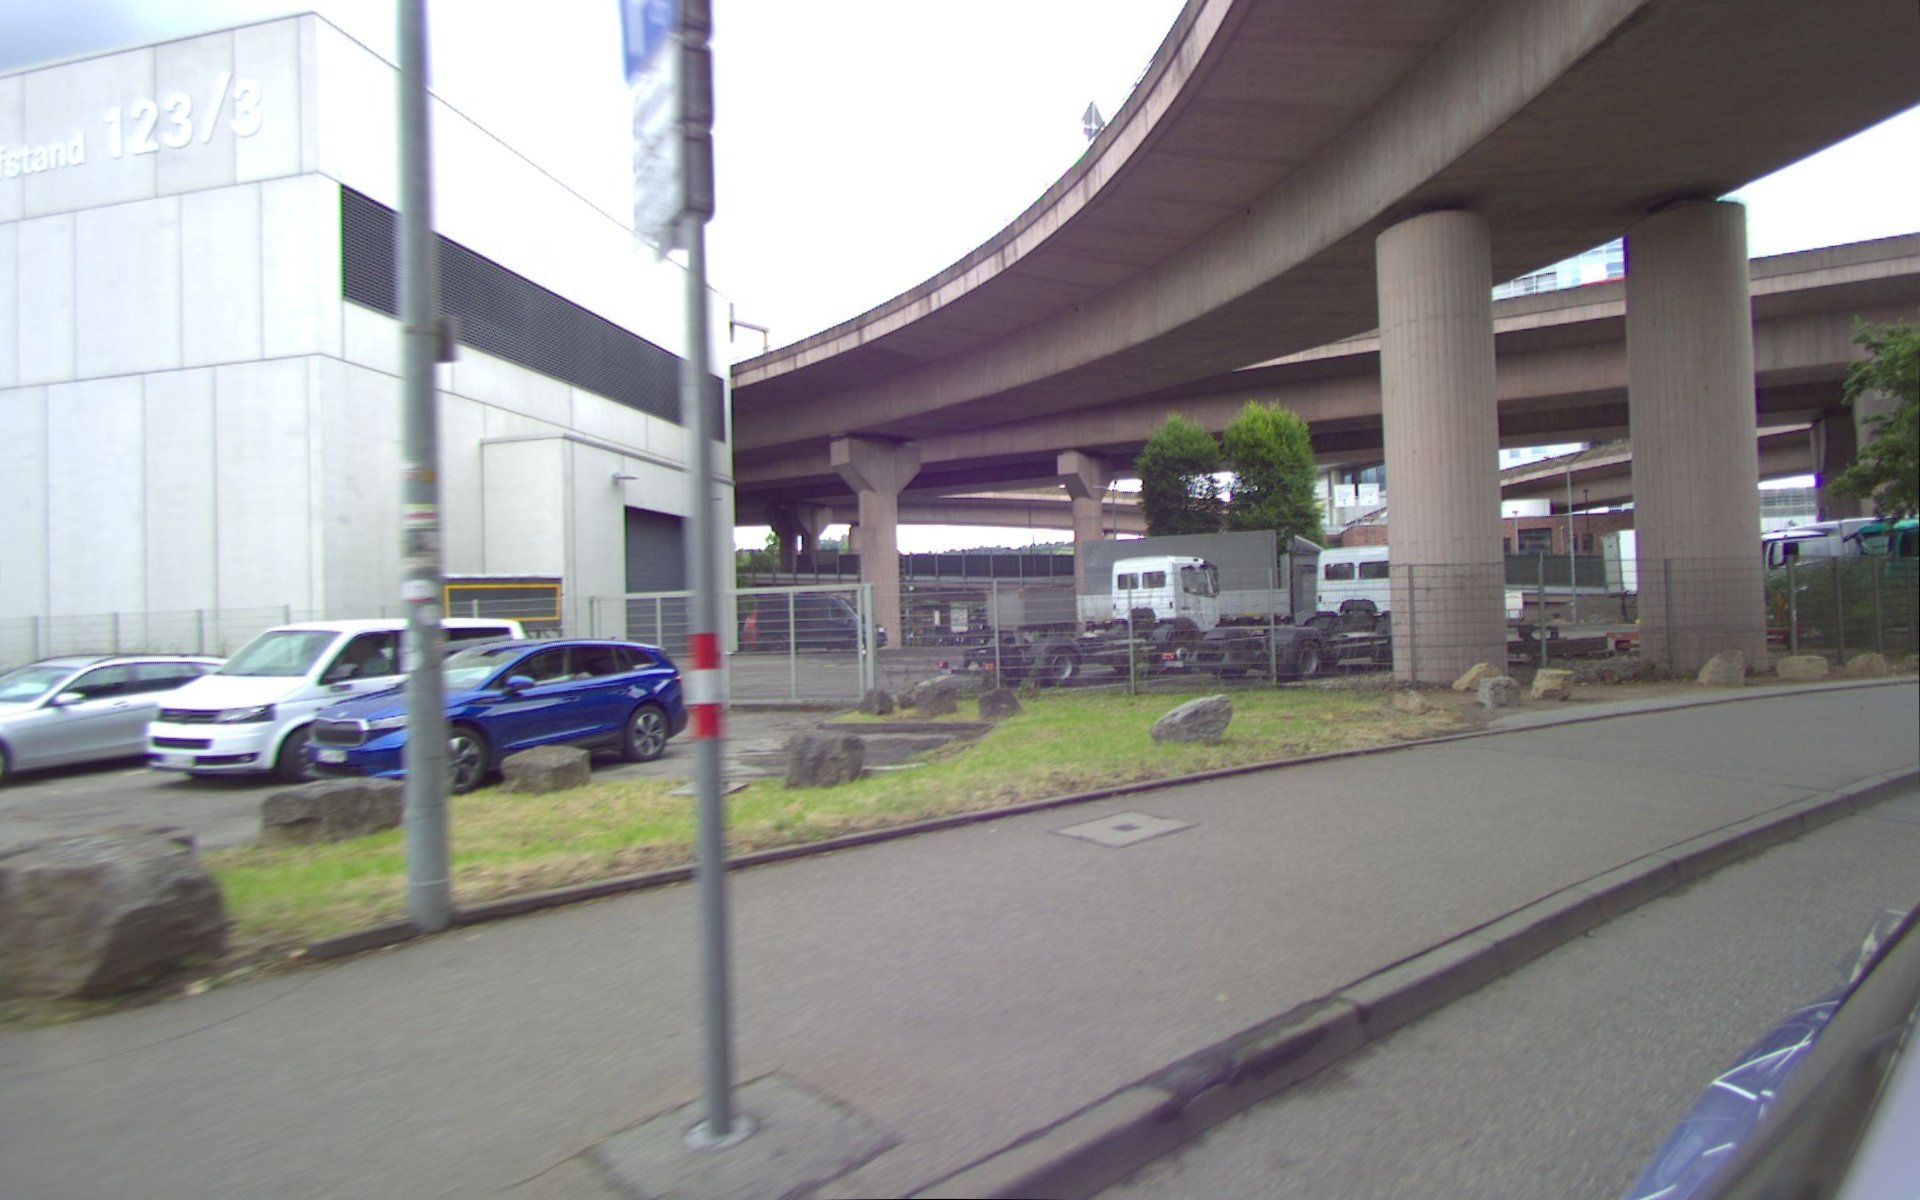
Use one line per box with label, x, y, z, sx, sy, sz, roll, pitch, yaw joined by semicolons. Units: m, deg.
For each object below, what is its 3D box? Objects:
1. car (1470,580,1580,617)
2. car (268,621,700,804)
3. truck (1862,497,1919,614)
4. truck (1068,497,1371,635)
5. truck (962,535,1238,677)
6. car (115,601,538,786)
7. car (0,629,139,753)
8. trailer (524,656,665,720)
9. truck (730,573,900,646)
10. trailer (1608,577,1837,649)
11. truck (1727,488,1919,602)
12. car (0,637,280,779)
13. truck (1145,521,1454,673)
car;29.029;-0.065;52.038;4.835;1.728;2.071;-2;-1;32
car;-5.445;1.154;12.302;1.759;1.655;4.639;-1;0;28
truck;31.389;-1.406;30.124;6.322;3.451;2.260;-2;1;16
truck;9.127;-1.070;36.611;9.981;4.422;3.898;-1;-1;13
truck;3.296;0.080;23.447;5.996;2.923;2.461;-1;-1;-29
car;-8.021;1.029;13.444;1.869;1.982;4.652;-1;0;19
car;-13.778;1.266;13.457;1.748;1.608;4.345;-1;0;12
trailer;-6.802;1.613;19.037;1.459;0.910;2.555;-2;1;8
truck;-6.367;0.442;44.782;6.832;2.970;3.035;-2;-1;16
trailer;16.690;0.253;22.191;4.291;1.348;1.609;-2;1;-13
truck;31.730;-1.860;33.359;10.063;3.542;2.262;-2;0;14
car;-11.441;1.305;12.956;1.750;1.475;4.533;-1;0;15
truck;7.386;-0.099;21.575;7.098;2.779;2.424;-1;-1;-35
